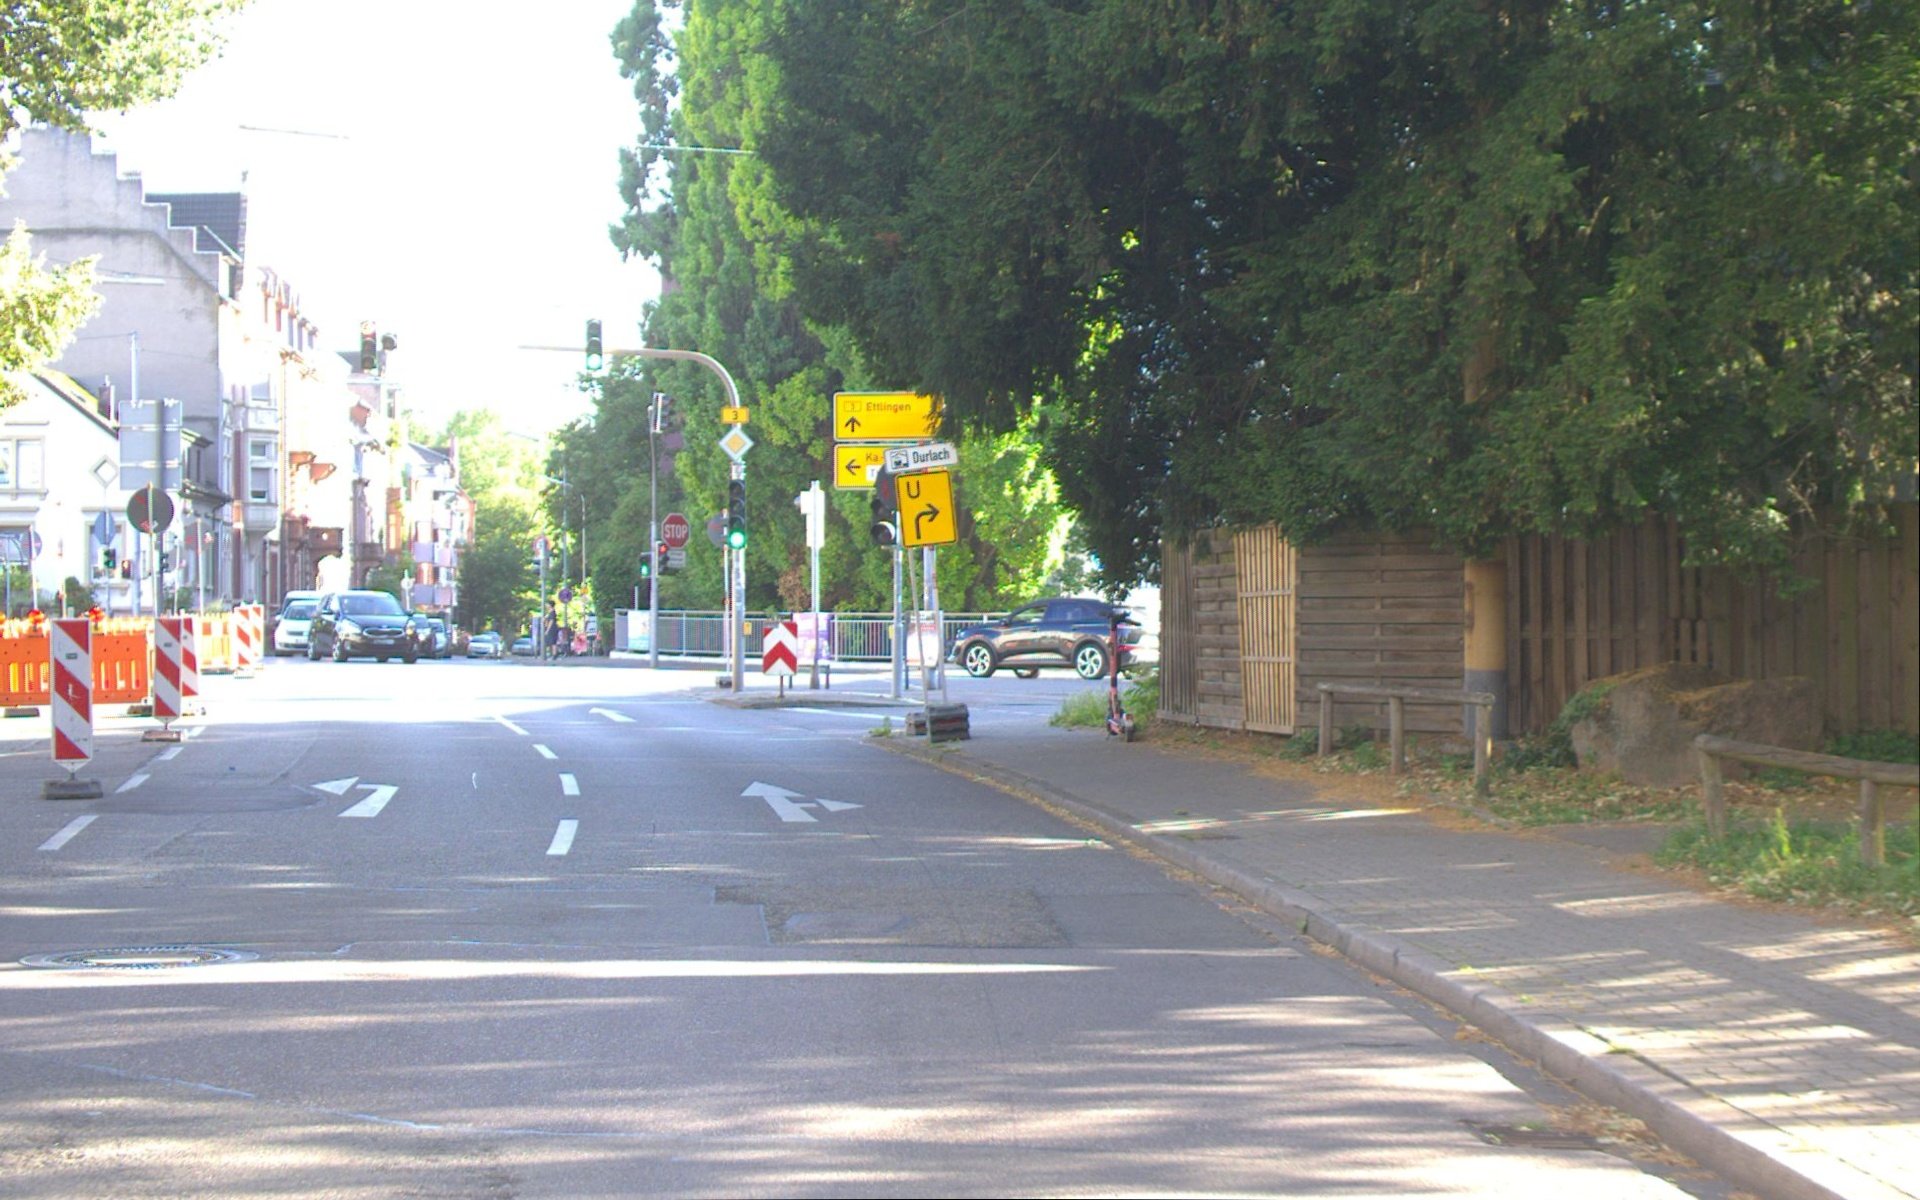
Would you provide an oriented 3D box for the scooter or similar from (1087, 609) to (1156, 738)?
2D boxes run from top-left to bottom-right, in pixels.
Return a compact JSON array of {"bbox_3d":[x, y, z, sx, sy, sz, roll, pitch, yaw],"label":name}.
[{"bbox_3d":[1.546,0.699,33.083,0.438,1.198,1.258,-2,0,-5],"label":"scooter or similar"}]

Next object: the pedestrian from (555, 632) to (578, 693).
[{"bbox_3d":[-10.927,1.732,95.477,0.602,1.687,0.612,0,0,-6],"label":"pedestrian"}]

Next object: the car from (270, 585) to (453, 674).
[{"bbox_3d":[-13.539,0.644,77.602,1.995,1.809,4.249,-3,3,-44],"label":"car"}]

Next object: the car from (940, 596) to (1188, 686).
[{"bbox_3d":[2.082,0.816,69.444,4.658,1.665,1.995,0,-3,36],"label":"car"}]

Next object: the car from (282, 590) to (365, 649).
[{"bbox_3d":[-17.573,0.523,94.806,1.775,1.538,4.001,2,0,-17],"label":"car"}]

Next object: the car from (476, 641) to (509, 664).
[{"bbox_3d":[-31.663,3.538,232.933,1.993,1.486,4.471,0,0,-5],"label":"car"}]
